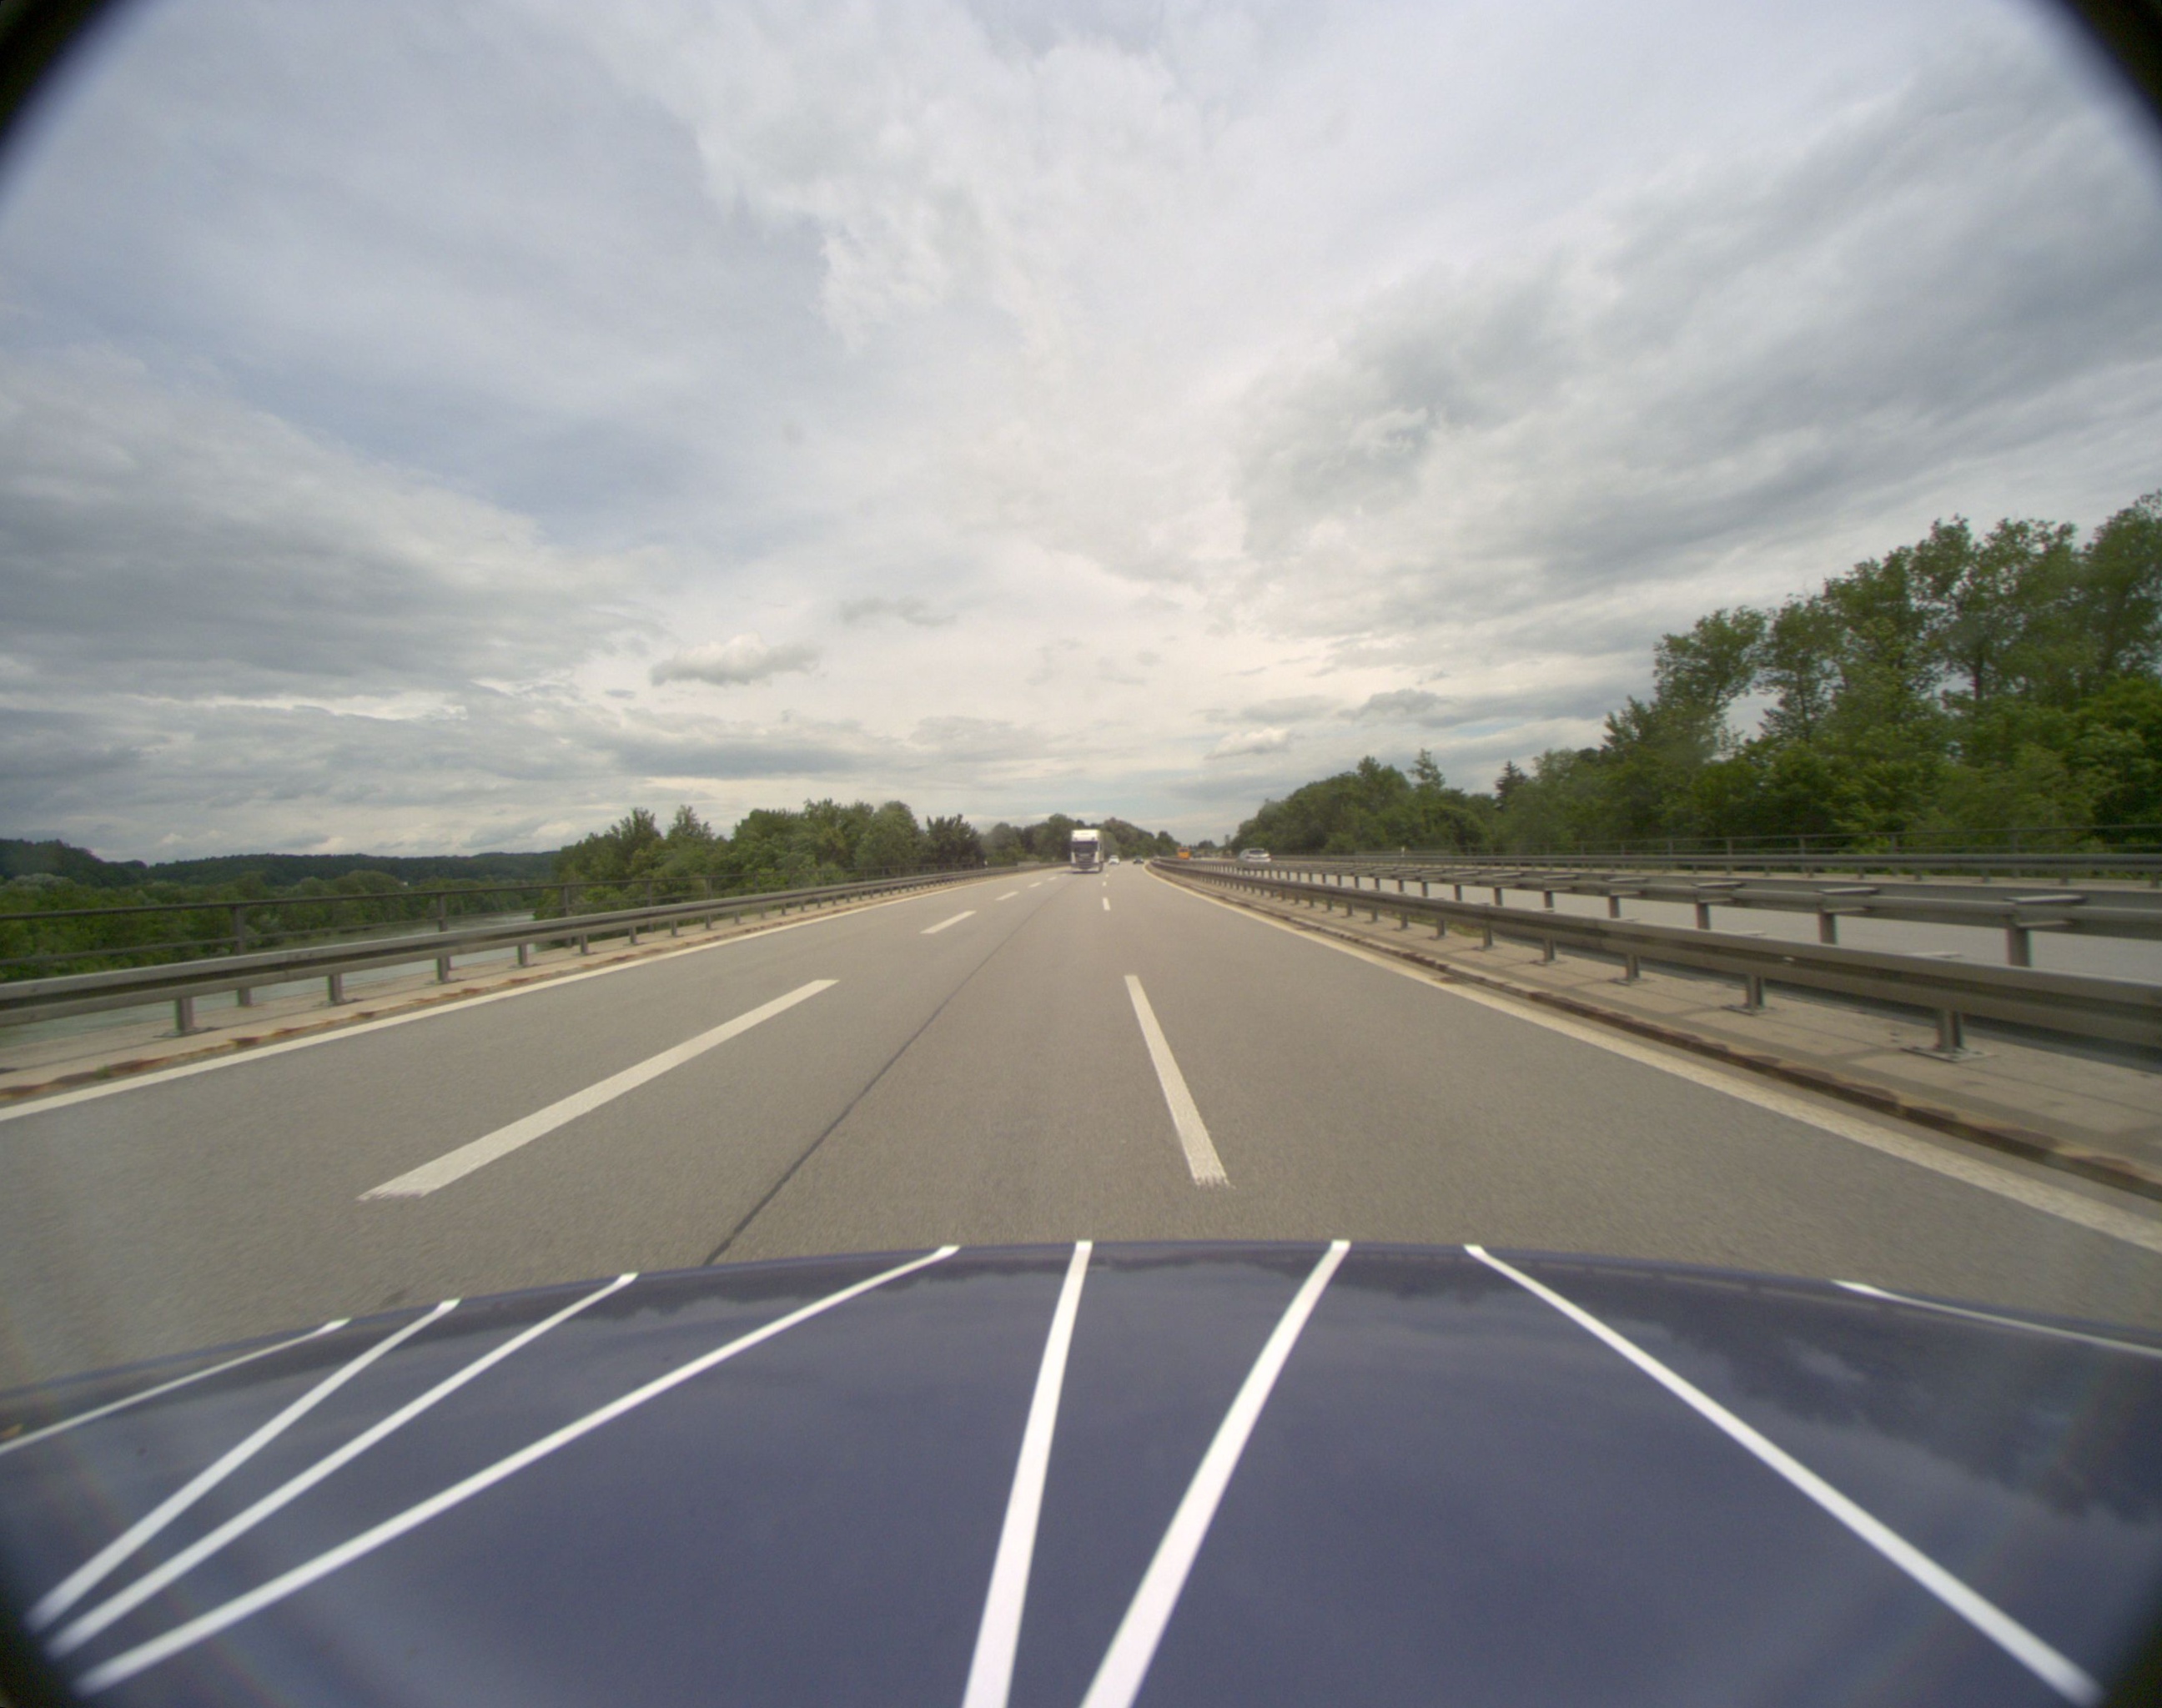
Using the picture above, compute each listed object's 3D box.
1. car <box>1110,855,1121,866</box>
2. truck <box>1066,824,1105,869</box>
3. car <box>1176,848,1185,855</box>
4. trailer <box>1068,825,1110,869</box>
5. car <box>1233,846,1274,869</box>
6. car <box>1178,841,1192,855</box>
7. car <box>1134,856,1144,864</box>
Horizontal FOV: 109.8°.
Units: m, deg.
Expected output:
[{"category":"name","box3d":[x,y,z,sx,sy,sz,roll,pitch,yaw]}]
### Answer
[{"category":"car","box3d":[6.068,1.162,134.100,1.774,1.813,4.166,-2,0,4]},{"category":"truck","box3d":[0.469,-0.612,69.470,3.069,3.869,6.002,-2,0,5]},{"category":"car","box3d":[21.264,-0.581,162.573,1.732,1.397,4.250,-2,0,4]},{"category":"trailer","box3d":[0.935,-0.583,74.493,3.069,3.867,13.795,-2,0,5]},{"category":"car","box3d":[11.420,0.225,50.507,1.776,1.379,4.387,-2,0,1]},{"category":"car","box3d":[17.572,-0.965,128.706,1.998,2.279,6.399,-2,0,5]},{"category":"car","box3d":[10.391,1.086,135.908,1.774,1.474,4.699,-1,-1,5]}]
